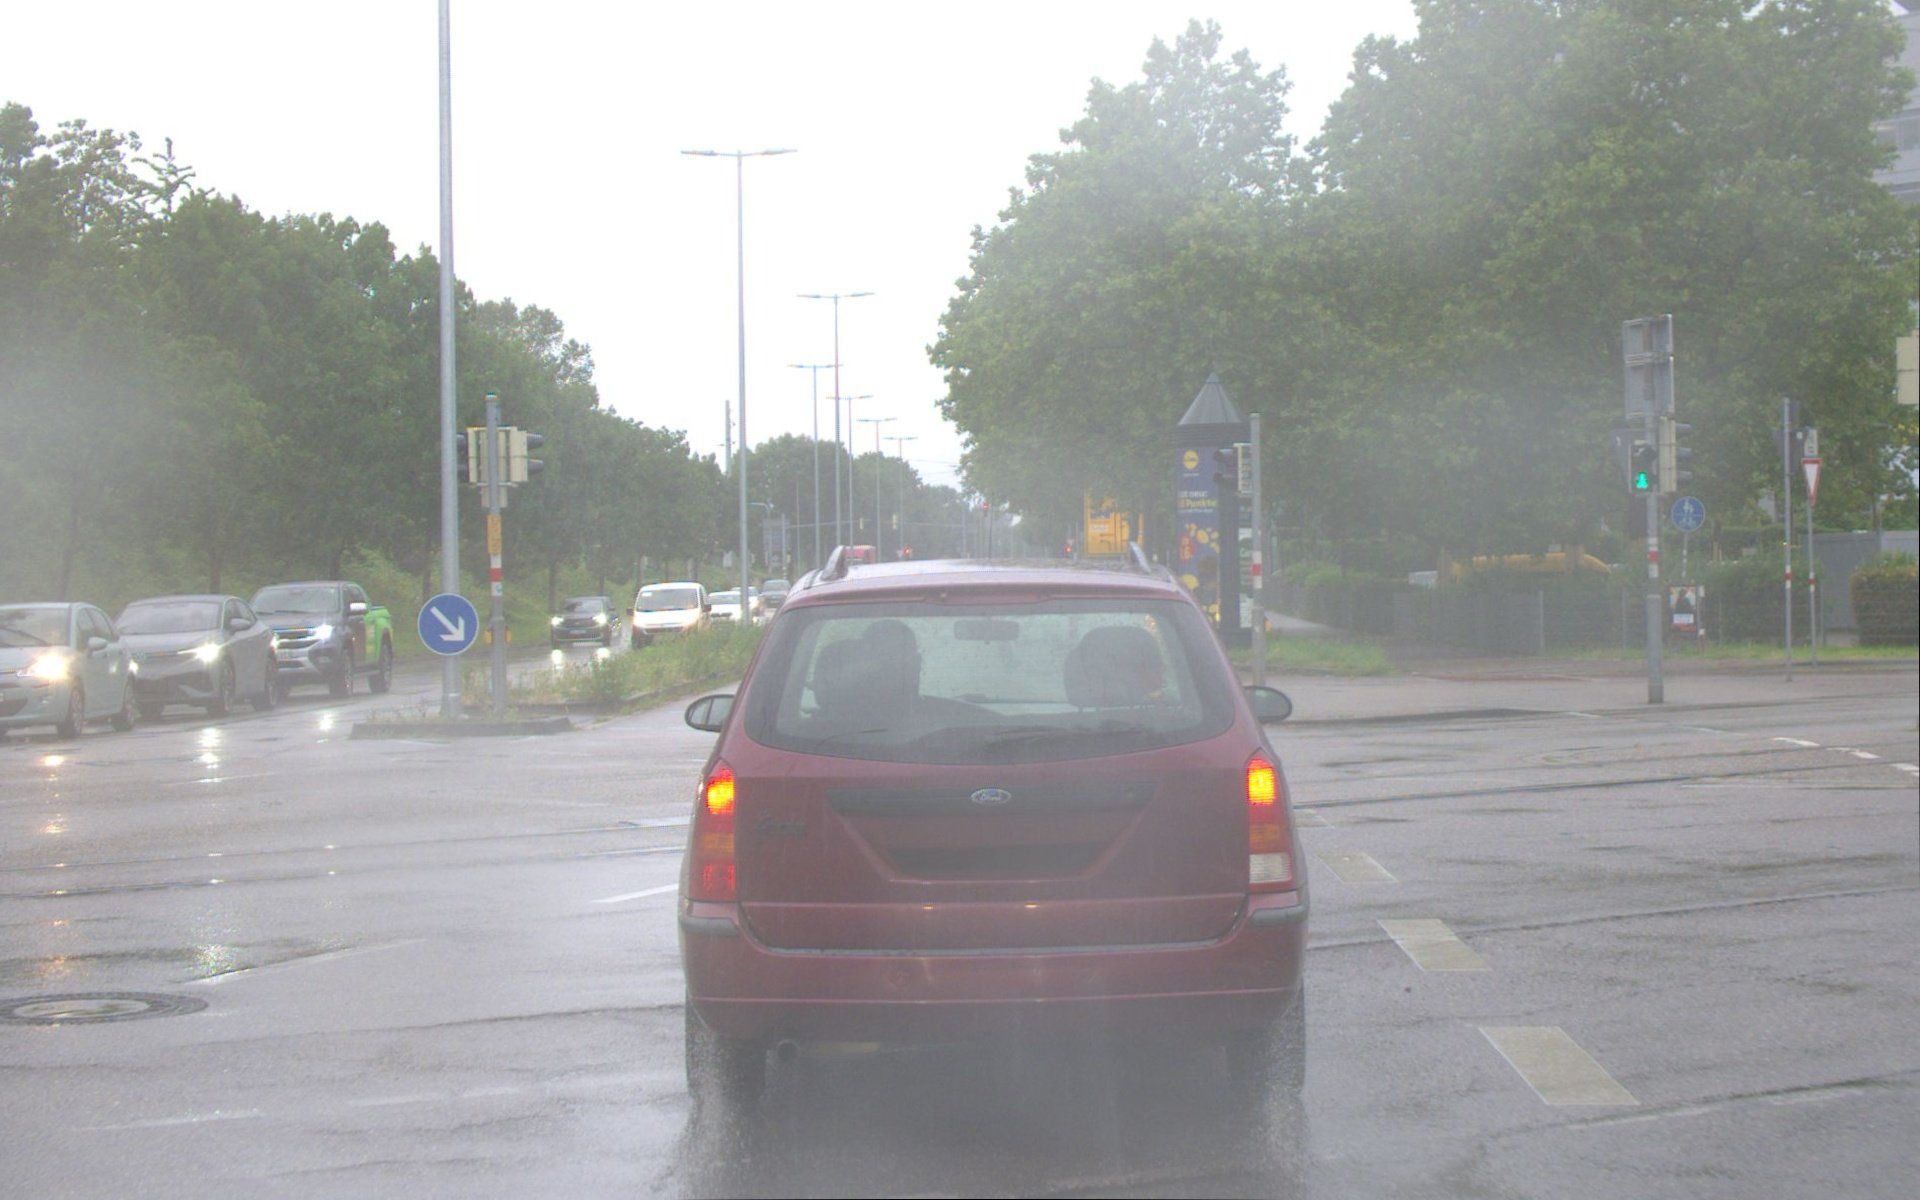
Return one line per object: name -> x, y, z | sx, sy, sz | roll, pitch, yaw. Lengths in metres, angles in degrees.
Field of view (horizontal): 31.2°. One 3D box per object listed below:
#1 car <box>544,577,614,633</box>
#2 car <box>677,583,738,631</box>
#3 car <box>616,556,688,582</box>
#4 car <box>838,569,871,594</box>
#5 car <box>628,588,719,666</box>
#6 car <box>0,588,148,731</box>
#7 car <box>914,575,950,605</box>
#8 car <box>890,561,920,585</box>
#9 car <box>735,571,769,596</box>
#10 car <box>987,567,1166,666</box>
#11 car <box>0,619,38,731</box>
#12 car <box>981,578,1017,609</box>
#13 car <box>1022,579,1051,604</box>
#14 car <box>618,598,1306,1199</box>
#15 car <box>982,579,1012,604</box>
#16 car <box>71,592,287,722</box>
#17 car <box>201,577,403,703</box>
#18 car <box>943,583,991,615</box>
car -> -12.123, 0.134, 109.525 | 1.743, 1.696, 4.284 | 1, 0, 0
car -> -9.435, 0.246, 128.793 | 1.963, 1.696, 4.284 | -1, 0, 0
car -> -20.263, -2.070, 226.211 | 4.270, 1.591, 1.969 | -2, 0, -34
car -> -6.932, -1.241, 225.610 | 1.963, 1.591, 4.284 | -1, 0, 1
car -> -6.785, 0.613, 81.830 | 1.743, 1.696, 4.284 | -3, 0, 0
car -> -10.232, 0.632, 38.034 | 1.638, 1.468, 3.965 | -1, 0, -2
car -> -1.506, -0.540, 184.904 | 1.698, 1.523, 3.845 | -1, 0, 3
car -> -3.613, -1.755, 226.497 | 1.698, 1.523, 3.845 | -1, 0, 3
car -> -13.793, -1.094, 228.123 | 1.963, 1.591, 4.284 | -1, 0, 0
car -> 2.070, 0.280, 62.438 | 1.735, 1.720, 4.245 | 0, 1, -21
car -> -13.104, 0.995, 43.934 | 1.590, 1.399, 3.823 | -1, 0, 0
car -> 2.014, -0.355, 176.380 | 1.698, 1.523, 3.845 | -1, 0, 2
car -> 4.695, -0.520, 210.321 | 1.671, 1.523, 3.845 | -1, 0, 2
car -> 0.001, 0.756, 10.215 | 1.642, 1.460, 3.732 | 1, 0, 0
car -> 2.305, -0.531, 212.591 | 1.671, 1.523, 3.845 | -1, 0, 3
car -> -10.224, 0.723, 45.339 | 1.762, 1.580, 4.813 | -2, 0, -1
car -> -10.172, 0.574, 53.598 | 2.065, 1.813, 5.542 | -1, 0, 0
car -> 0.356, -0.072, 170.048 | 2.148, 1.523, 4.192 | -1, 0, 3
